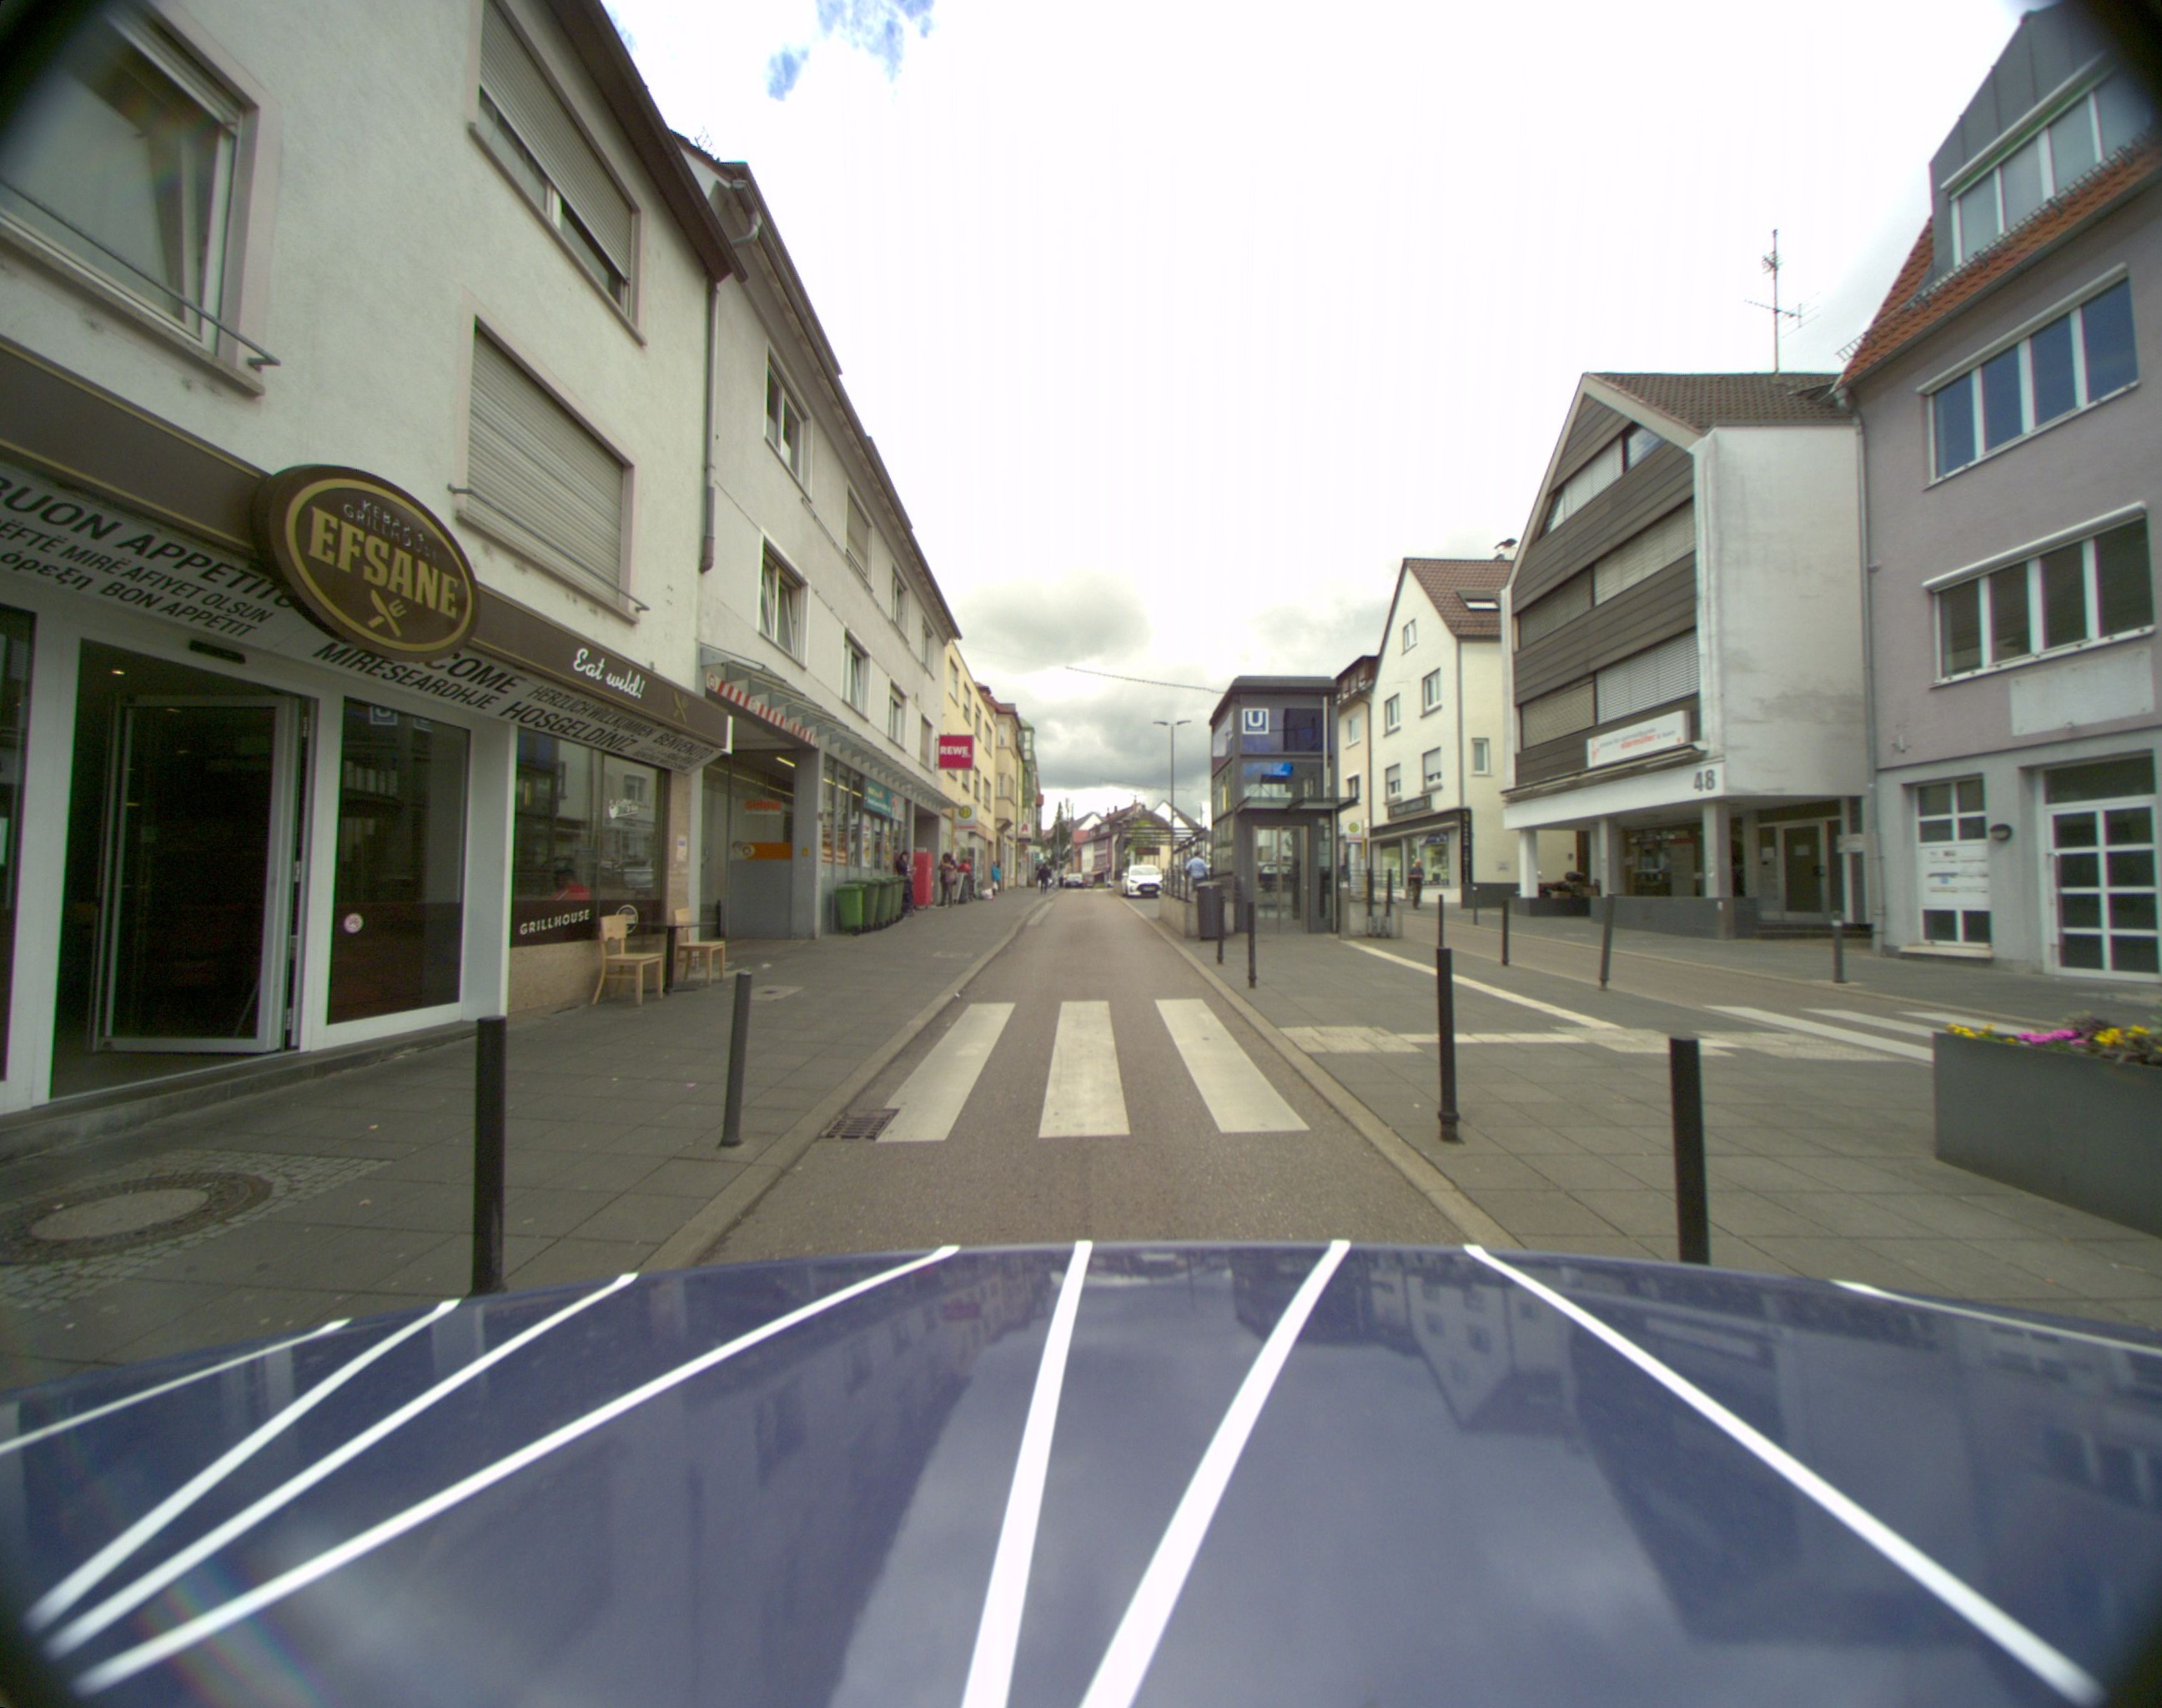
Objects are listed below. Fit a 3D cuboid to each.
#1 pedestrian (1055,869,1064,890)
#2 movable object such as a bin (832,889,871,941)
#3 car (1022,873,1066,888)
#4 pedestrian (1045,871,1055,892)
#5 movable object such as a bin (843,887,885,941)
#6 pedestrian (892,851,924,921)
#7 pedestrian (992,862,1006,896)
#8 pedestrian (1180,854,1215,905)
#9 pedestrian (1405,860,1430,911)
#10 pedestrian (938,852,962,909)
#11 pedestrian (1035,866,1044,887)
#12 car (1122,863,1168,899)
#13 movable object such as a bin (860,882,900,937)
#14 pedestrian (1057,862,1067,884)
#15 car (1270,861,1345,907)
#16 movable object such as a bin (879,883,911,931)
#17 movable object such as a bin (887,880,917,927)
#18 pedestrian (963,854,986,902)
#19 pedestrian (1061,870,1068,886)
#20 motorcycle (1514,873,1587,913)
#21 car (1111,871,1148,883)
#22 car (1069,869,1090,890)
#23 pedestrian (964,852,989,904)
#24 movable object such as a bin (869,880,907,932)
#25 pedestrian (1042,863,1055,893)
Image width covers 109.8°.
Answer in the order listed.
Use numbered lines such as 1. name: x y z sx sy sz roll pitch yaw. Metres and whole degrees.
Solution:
1. pedestrian: -1.695 2.022 59.596 0.657 1.620 0.743 -2 1 -6
2. movable object such as a bin: -4.353 1.151 14.436 0.568 0.951 0.498 0 0 1
3. car: -4.248 2.969 86.630 4.632 1.570 1.775 -1 0 -24
4. pedestrian: -2.443 2.154 59.556 0.657 1.620 0.743 -2 1 -6
5. movable object such as a bin: -4.283 1.177 15.024 0.670 1.024 0.560 0 0 1
6. pedestrian: -4.396 0.790 19.290 0.628 1.716 0.606 -2 1 -23
7. pedestrian: -4.019 1.222 37.159 0.627 1.620 0.607 -2 1 -5
8. pedestrian: 4.347 0.924 28.411 1.097 1.831 0.931 -2 1 1
9. pedestrian: 11.358 1.059 25.662 0.592 1.706 0.513 -2 1 1
10. pedestrian: -4.049 0.799 23.442 0.627 1.716 0.607 2 1 -5
11. pedestrian: -3.364 1.831 62.272 0.657 1.620 0.743 -2 1 -2
12. car: 2.852 1.208 34.315 1.754 1.452 3.602 -2 -1 0
13. movable object such as a bin: -4.146 1.134 15.706 0.652 1.074 0.673 0 0 1
14. pedestrian: -1.456 1.393 57.308 0.657 1.620 0.743 -2 1 -6
15. car: 8.769 1.125 29.784 1.684 1.562 4.122 -2 0 0
16. movable object such as a bin: -4.164 1.181 17.065 0.569 1.053 0.574 0 0 1
17. movable object such as a bin: -4.144 1.139 17.649 0.560 1.050 0.559 0 0 1
18. pedestrian: -3.937 0.882 28.080 0.608 1.716 0.626 -3 1 -29
19. pedestrian: -1.682 2.521 78.695 0.657 1.620 0.743 -2 1 -3
20. motorcycle: 14.527 1.188 23.522 1.854 1.134 0.634 -2 1 0
21. car: 6.221 2.957 97.439 4.484 1.461 1.807 -1 0 12
22. car: -0.148 2.206 67.052 1.741 1.608 3.843 -2 0 0
23. pedestrian: -3.737 0.842 27.241 0.629 1.811 0.605 -3 1 -34
24. movable object such as a bin: -4.161 1.110 16.421 0.652 1.074 0.659 0 0 1
25. pedestrian: -1.853 1.343 43.080 0.657 1.620 0.743 -2 1 -2
